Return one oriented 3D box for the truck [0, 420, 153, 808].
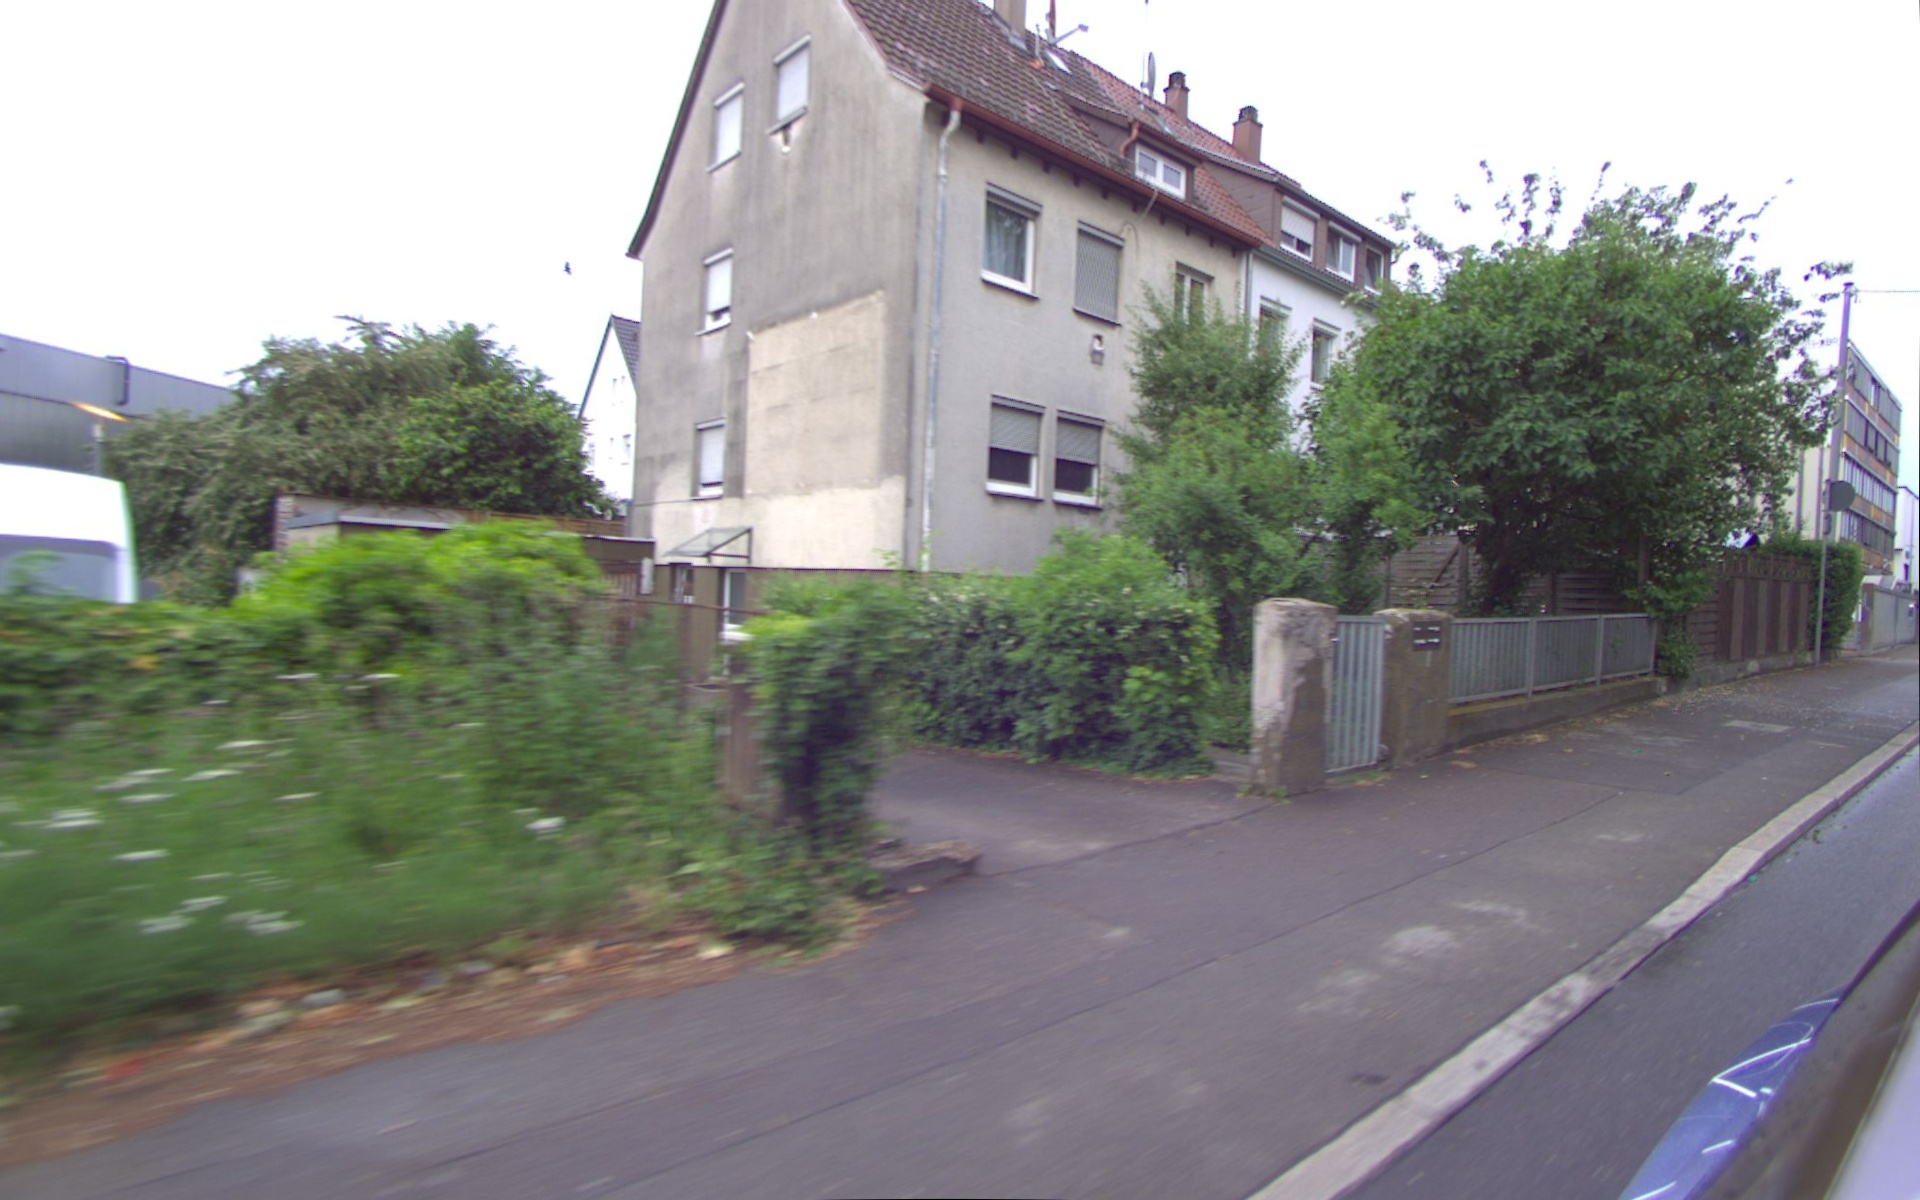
[{"bbox_3d":[-8.669,0.096,9.068,2.008,2.670,5.854,-1,0,-41],"label":"truck"}]
